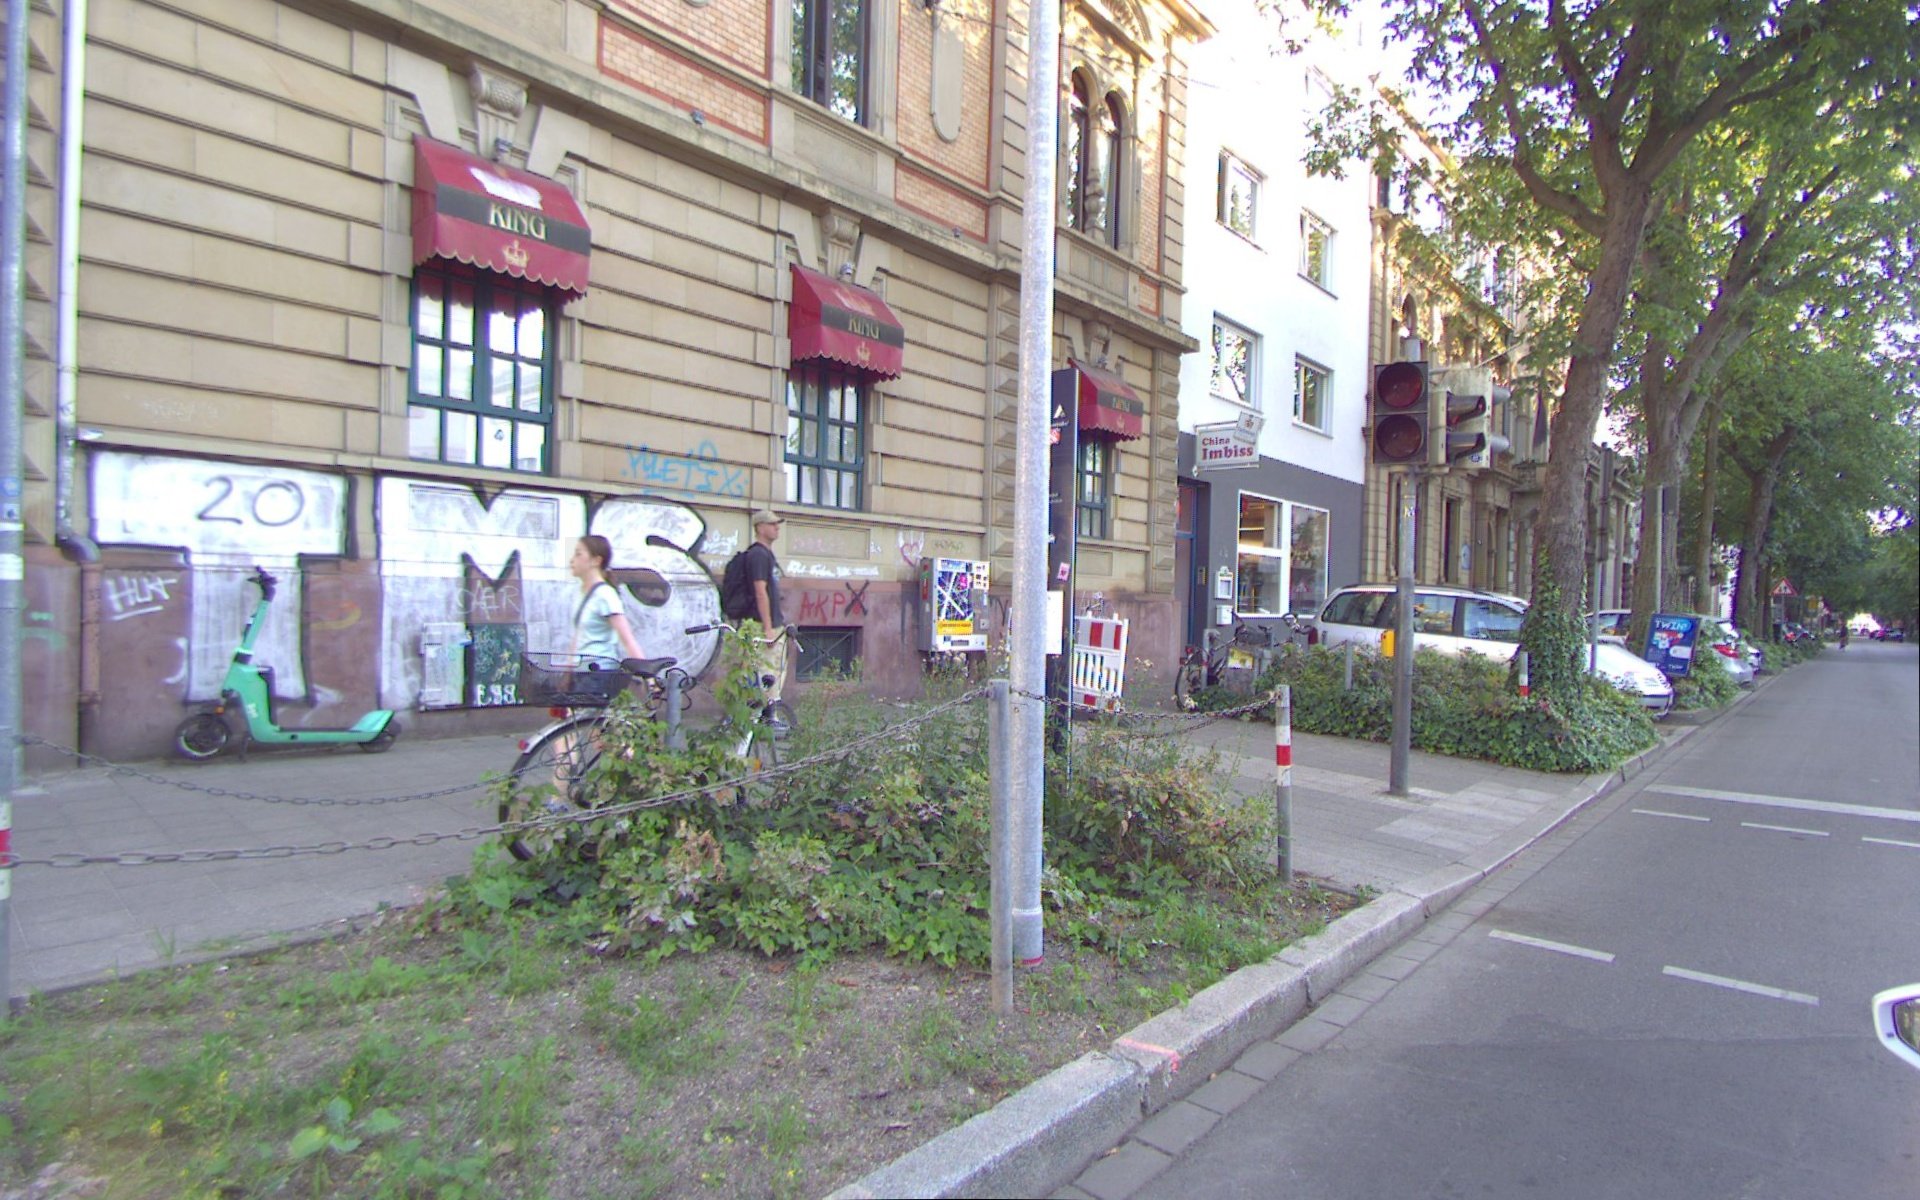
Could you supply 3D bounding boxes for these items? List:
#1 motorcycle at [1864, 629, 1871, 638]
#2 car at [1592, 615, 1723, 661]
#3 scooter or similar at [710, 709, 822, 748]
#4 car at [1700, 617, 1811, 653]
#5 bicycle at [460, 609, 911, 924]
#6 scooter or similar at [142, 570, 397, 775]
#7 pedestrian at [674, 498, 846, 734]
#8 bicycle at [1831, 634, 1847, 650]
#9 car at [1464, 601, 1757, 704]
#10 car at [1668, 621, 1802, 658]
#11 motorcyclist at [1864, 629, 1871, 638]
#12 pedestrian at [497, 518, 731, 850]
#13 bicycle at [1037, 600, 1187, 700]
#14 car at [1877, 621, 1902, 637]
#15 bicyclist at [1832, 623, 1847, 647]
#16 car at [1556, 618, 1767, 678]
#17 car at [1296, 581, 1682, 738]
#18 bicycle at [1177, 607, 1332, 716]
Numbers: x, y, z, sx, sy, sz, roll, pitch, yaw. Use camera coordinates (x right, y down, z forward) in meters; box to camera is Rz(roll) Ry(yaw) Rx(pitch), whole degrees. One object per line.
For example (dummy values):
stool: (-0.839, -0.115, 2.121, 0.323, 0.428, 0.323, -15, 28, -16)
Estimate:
motorcycle: (138.565, 5.111, 153.362, 0.809, 1.253, 2.014, 3, 1, 42)
car: (27.147, 1.430, 39.164, 3.995, 1.611, 1.822, 1, 0, 43)
scooter or similar: (-1.577, 1.048, 8.232, 0.866, 0.210, 0.418, 4, 2, -8)
car: (42.248, 1.829, 53.403, 4.499, 1.714, 1.822, 2, 0, 44)
bicycle: (-1.162, 0.645, 4.740, 0.505, 1.169, 2.090, 4, 2, 42)
scooter or similar: (-4.346, 0.434, 6.387, 1.275, 1.183, 0.435, 2, 2, -36)
pedestrian: (-1.573, 0.121, 8.071, 1.243, 1.762, 0.849, 2, 1, -8)
bicycle: (54.061, 2.577, 61.756, 0.564, 0.961, 1.738, 2, 0, 36)
car: (12.465, 0.922, 19.441, 4.499, 1.711, 1.822, 1, 0, 44)
car: (33.917, 1.689, 44.034, 4.499, 1.428, 1.822, 1, 0, 44)
motorcyclist: (138.504, 5.104, 153.299, 0.809, 1.253, 0.846, 3, 1, 42)
pedestrian: (-1.835, 0.400, 5.317, 0.970, 1.578, 0.694, 2, 2, -34)
bicycle: (2.089, 0.643, 13.463, 0.630, 1.218, 2.548, 1, 0, 43)
car: (102.313, 3.209, 110.582, 1.804, 1.582, 4.007, 3, 1, 41)
bicyclist: (54.147, 2.150, 61.843, 0.564, 1.489, 0.640, 2, 0, 36)
car: (18.993, 1.237, 27.344, 4.499, 1.390, 1.822, 1, 0, 44)
car: (7.273, 0.695, 14.083, 4.494, 1.859, 1.824, 1, 0, 40)
bicycle: (3.749, 0.727, 12.594, 0.726, 1.202, 2.619, 4, 1, 43)
